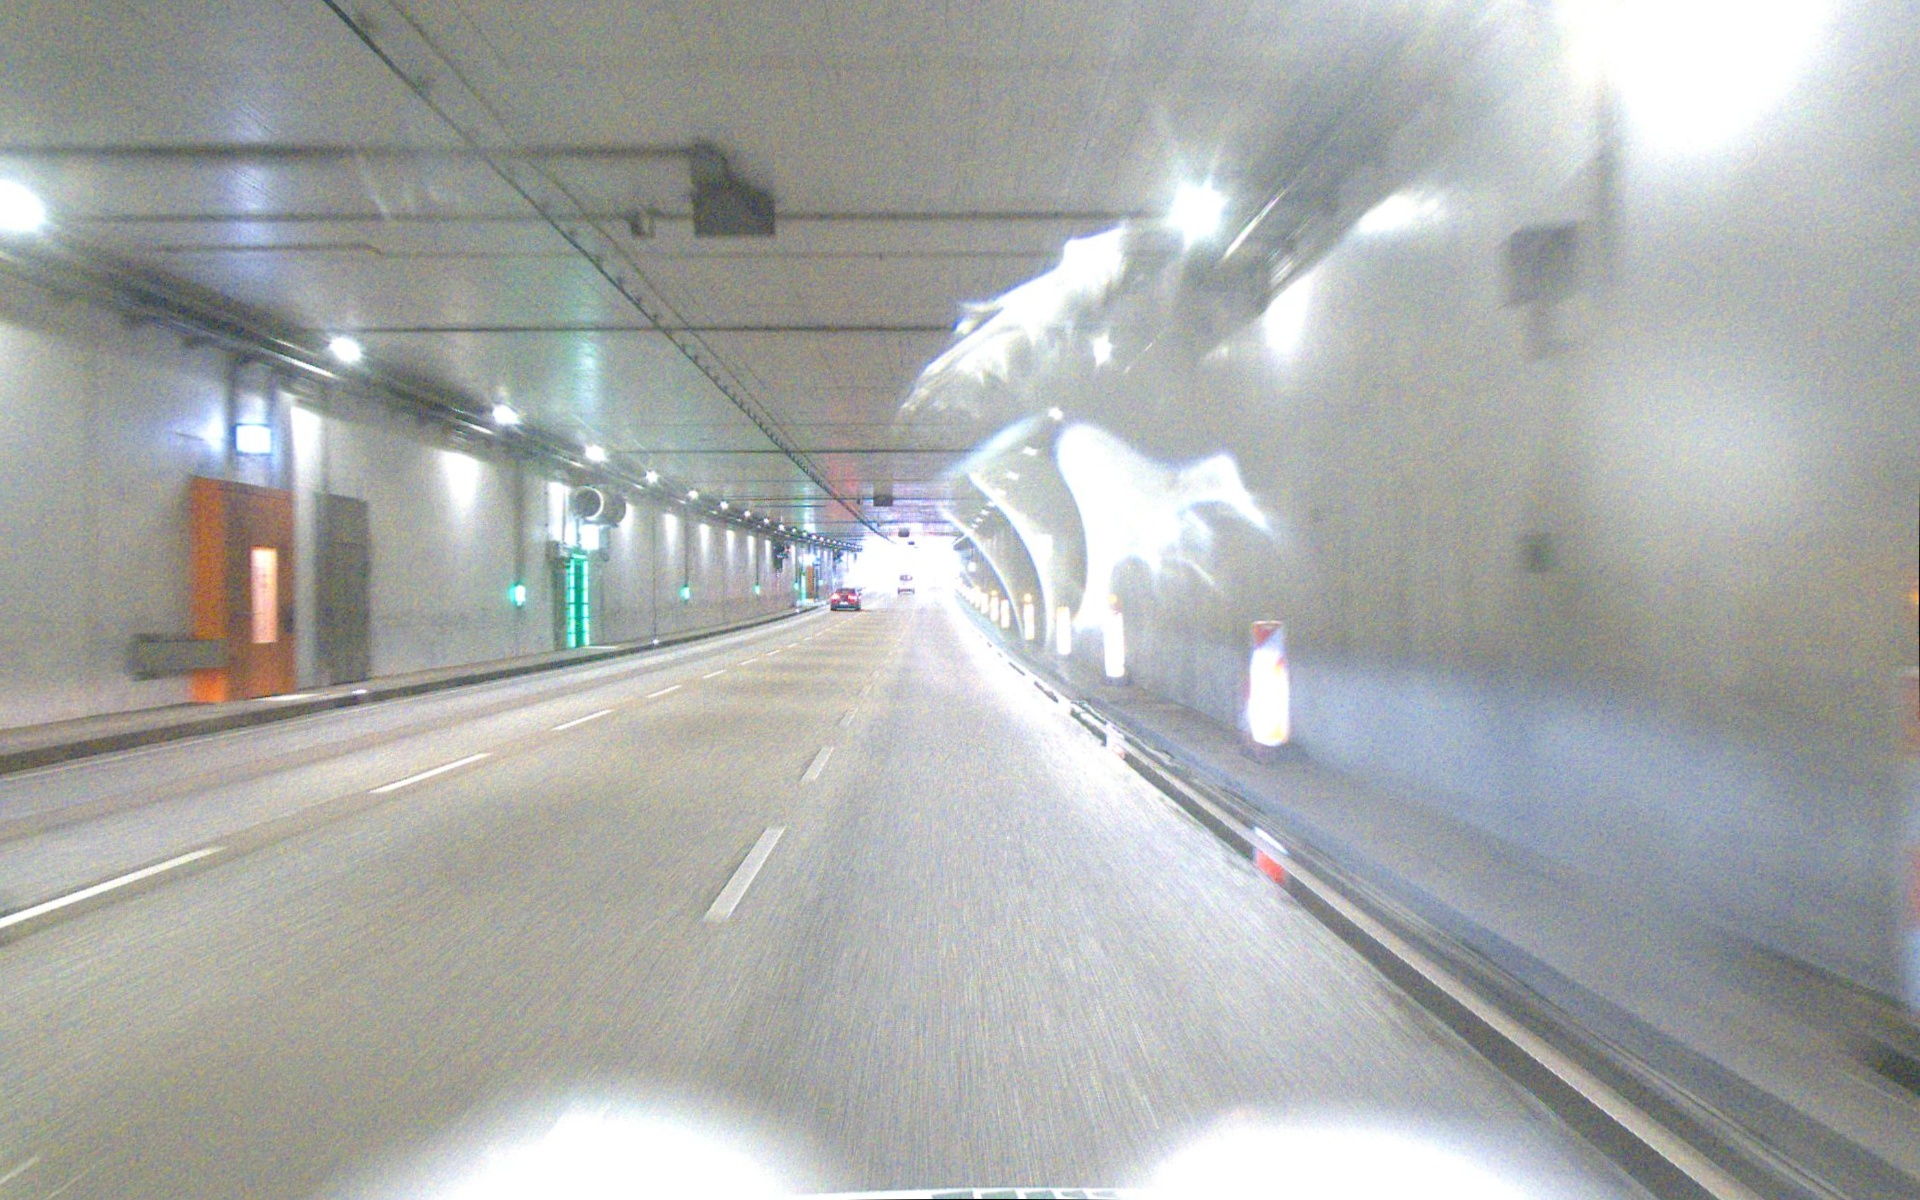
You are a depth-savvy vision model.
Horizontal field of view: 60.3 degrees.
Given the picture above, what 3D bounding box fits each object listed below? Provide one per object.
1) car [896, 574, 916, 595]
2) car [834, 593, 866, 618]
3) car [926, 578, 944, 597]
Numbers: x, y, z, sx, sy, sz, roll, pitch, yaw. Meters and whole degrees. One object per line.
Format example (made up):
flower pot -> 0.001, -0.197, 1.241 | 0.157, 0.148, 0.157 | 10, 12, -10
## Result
car -> -5.532, -1.616, 169.683 | 1.953, 2.049, 3.999 | 1, 0, -1
car -> -7.100, 0.316, 106.567 | 1.955, 1.473, 4.310 | 3, 0, -5
car -> -2.790, -1.429, 186.582 | 1.953, 2.049, 3.999 | 1, 0, -1
